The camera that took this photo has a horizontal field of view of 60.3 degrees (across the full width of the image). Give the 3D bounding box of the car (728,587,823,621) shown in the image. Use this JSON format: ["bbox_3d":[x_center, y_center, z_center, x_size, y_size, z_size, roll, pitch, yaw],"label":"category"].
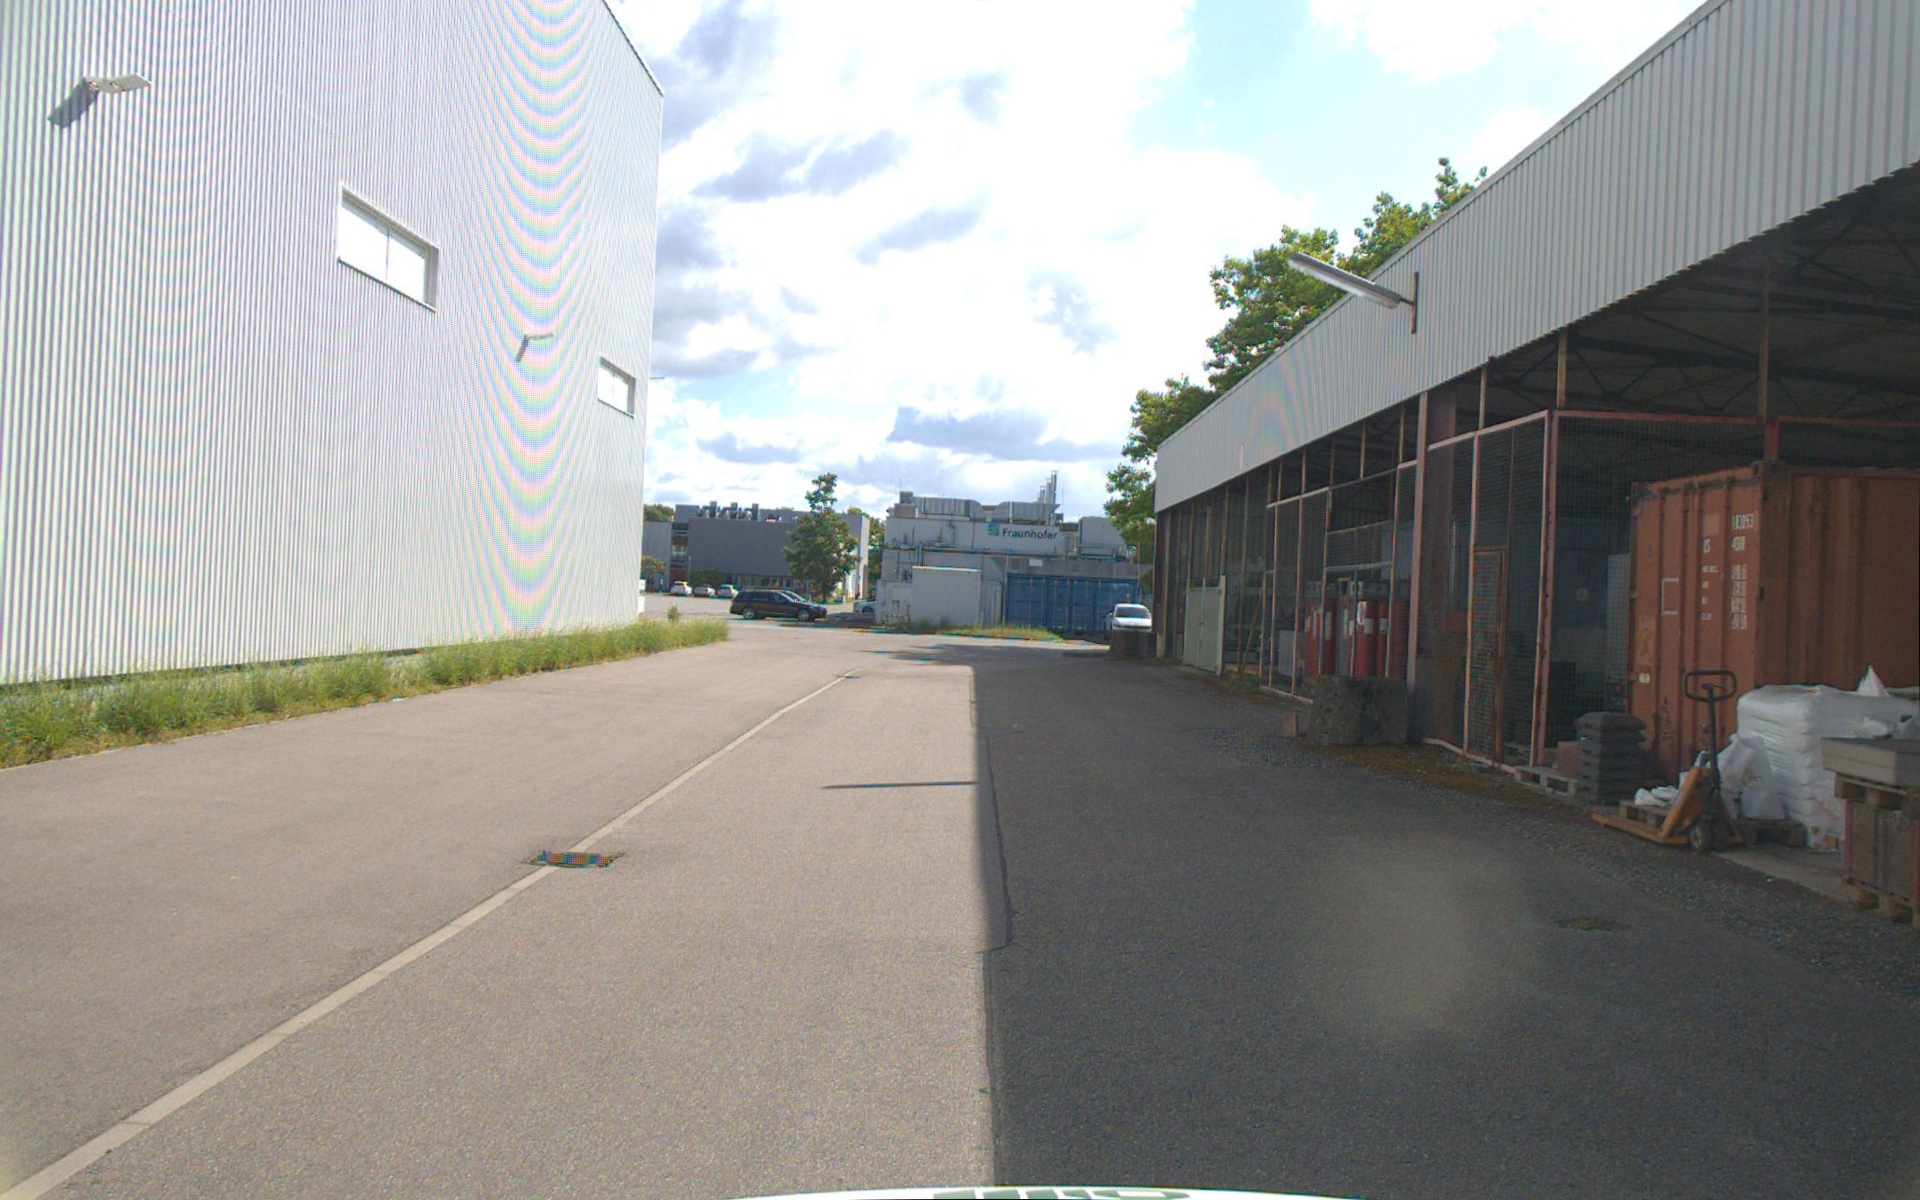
[{"bbox_3d":[-9.167,0.221,82.480,4.437,1.468,1.987,3,-2,0],"label":"car"}]

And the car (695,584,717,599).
[{"bbox_3d":[-27.517,-0.943,179.187,1.840,1.564,4.033,1,0,-2],"label":"car"}]

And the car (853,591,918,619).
[{"bbox_3d":[-4.941,0.357,110.248,4.192,1.596,1.987,3,-2,0],"label":"car"}]

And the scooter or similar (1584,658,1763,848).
[{"bbox_3d":[4.842,1.000,11.322,0.510,1.154,1.592,2,-1,0],"label":"scooter or similar"}]

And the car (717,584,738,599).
[{"bbox_3d":[-25.236,-0.904,179.421,1.840,1.564,4.033,1,0,-2],"label":"car"}]

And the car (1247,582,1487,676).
[{"bbox_3d":[9.670,0.682,39.517,5.065,1.952,2.276,3,-1,-5],"label":"car"}]

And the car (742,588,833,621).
[{"bbox_3d":[-8.933,0.228,85.740,4.437,1.468,1.904,3,-2,0],"label":"car"}]

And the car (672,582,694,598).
[{"bbox_3d":[-30.030,-1.061,179.325,1.840,1.719,4.033,1,0,-2],"label":"car"}]

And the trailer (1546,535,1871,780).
[{"bbox_3d":[7.368,0.525,16.646,1.545,2.181,3.519,1,0,-3],"label":"trailer"}]

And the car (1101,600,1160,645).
[{"bbox_3d":[7.167,0.929,69.968,1.940,1.621,4.340,3,1,0],"label":"car"}]
